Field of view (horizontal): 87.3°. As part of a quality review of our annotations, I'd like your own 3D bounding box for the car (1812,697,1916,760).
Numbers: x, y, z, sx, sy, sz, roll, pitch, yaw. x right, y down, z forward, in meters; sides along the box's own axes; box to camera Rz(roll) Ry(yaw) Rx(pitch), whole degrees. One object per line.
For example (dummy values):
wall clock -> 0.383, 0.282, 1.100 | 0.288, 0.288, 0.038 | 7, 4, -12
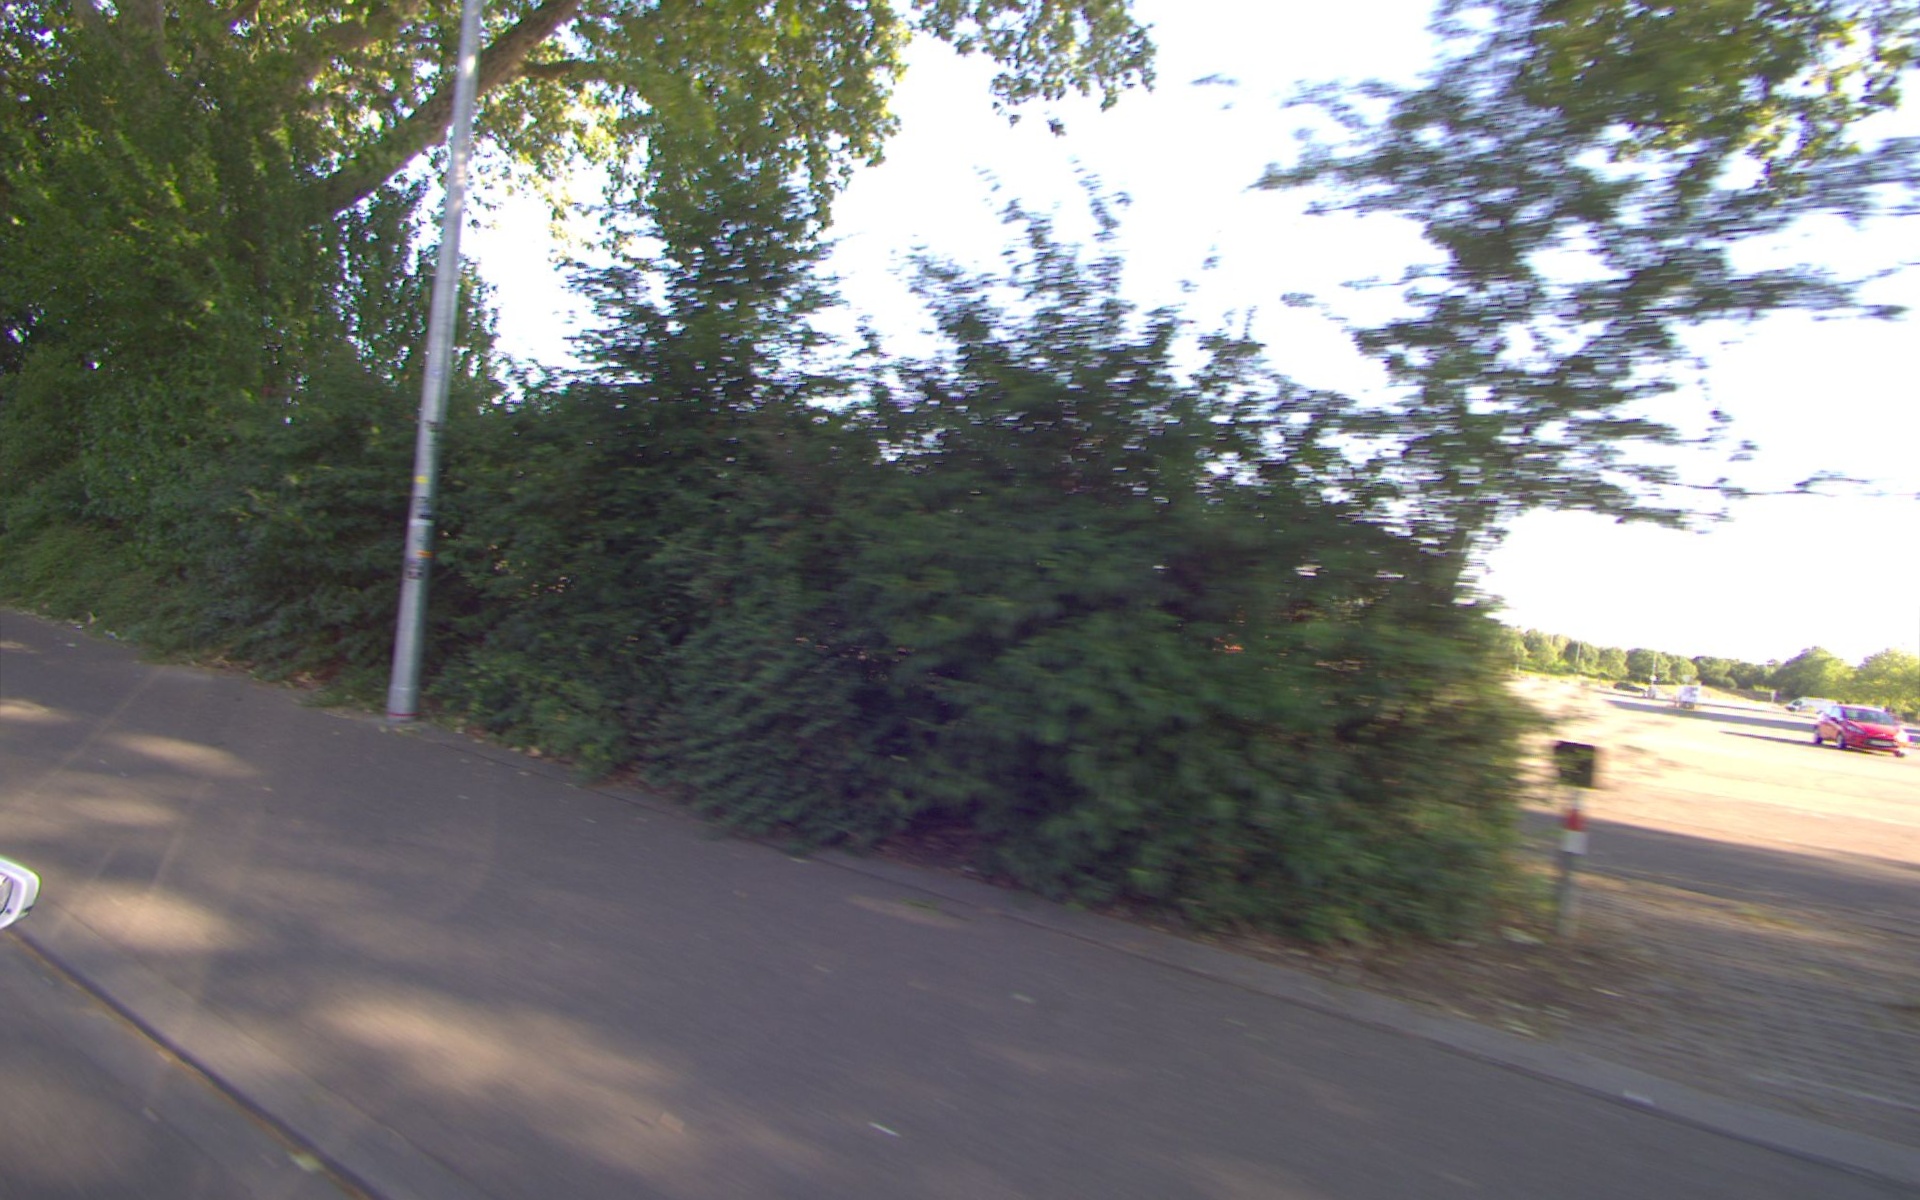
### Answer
car -> 30.237, 4.249, 33.780 | 1.622, 1.621, 3.820 | 7, 0, 29
